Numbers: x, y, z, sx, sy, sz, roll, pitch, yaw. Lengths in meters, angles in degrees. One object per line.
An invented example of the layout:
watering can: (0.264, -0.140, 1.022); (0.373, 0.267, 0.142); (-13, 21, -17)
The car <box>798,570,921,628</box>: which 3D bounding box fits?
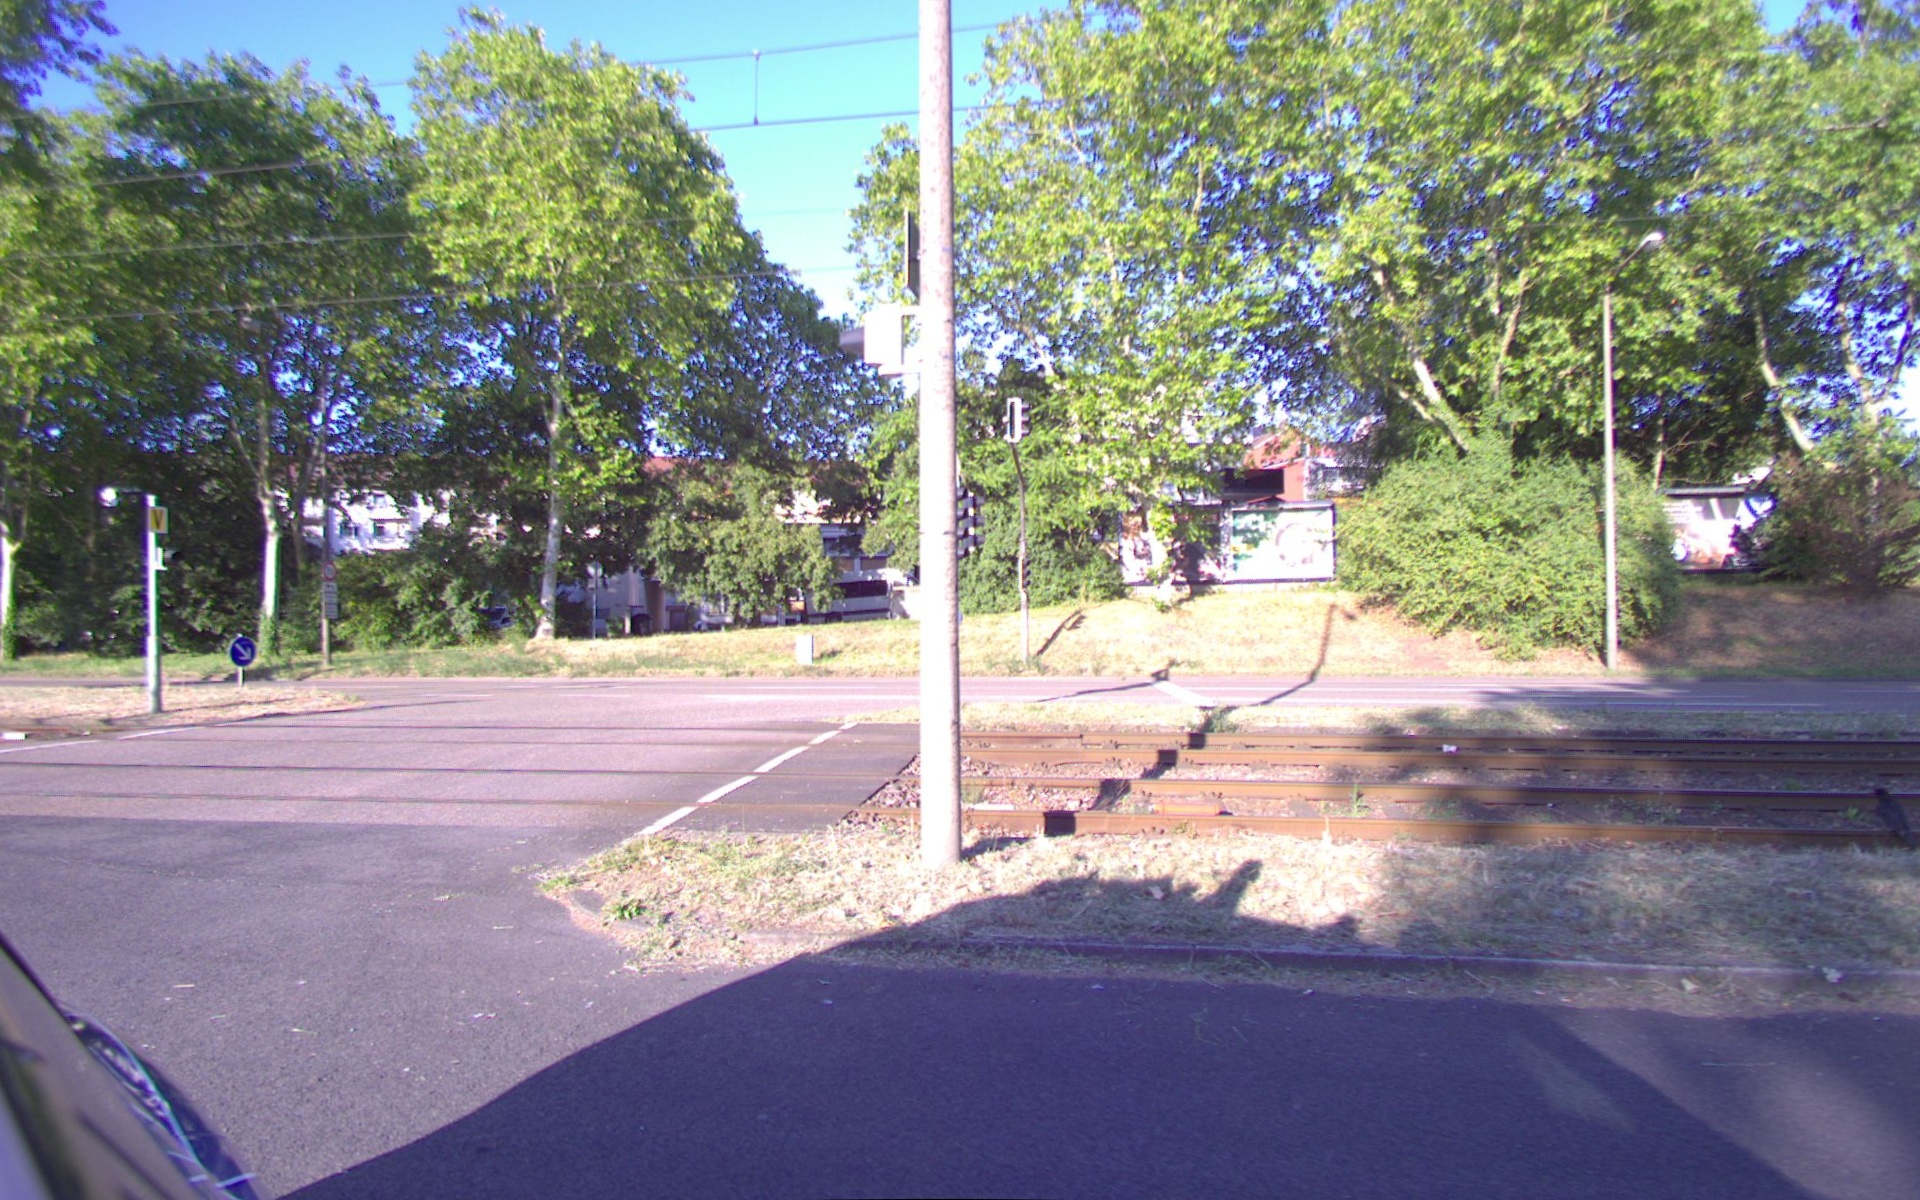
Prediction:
car: (-4.774, 0.005, 48.174); (5.571, 2.532, 1.799); (-1, -3, 13)
